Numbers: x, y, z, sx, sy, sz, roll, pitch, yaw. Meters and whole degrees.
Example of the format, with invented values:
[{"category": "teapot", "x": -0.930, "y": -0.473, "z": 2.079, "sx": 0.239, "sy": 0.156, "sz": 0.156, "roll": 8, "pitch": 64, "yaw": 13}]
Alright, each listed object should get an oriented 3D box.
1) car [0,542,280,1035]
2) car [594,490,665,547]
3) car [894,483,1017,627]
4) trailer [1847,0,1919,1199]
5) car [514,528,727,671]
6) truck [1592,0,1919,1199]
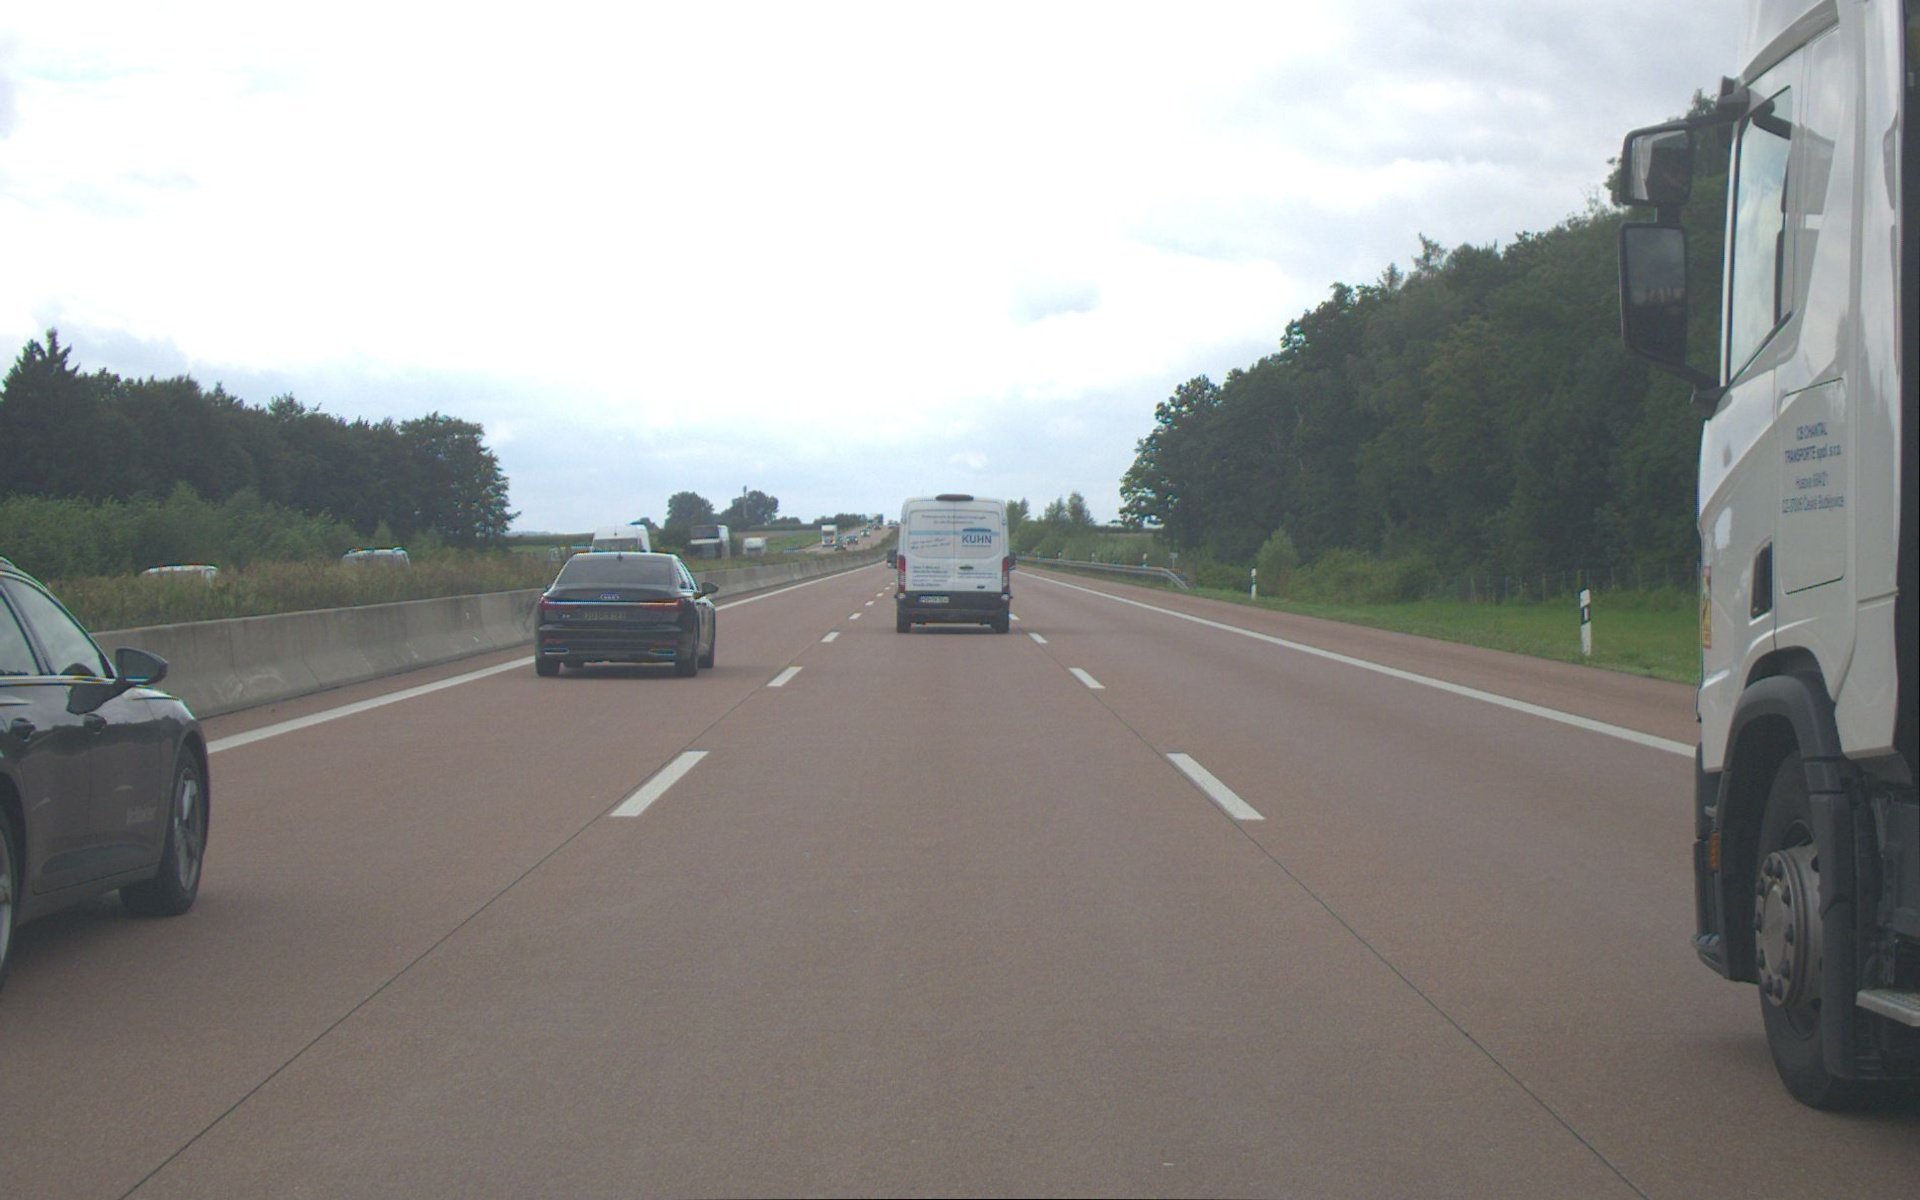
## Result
[{"category": "car", "x": -3.986, "y": 0.551, "z": 12.256, "sx": 2.059, "sy": 1.486, "sz": 5.453, "roll": 0, "pitch": 1, "yaw": 0}, {"category": "car", "x": -12.894, "y": -3.164, "z": 134.539, "sx": 2.072, "sy": 2.134, "sz": 7.488, "roll": 1, "pitch": 1, "yaw": 0}, {"category": "car", "x": -0.081, "y": -0.878, "z": 63.299, "sx": 2.137, "sy": 2.498, "sz": 7.132, "roll": 0, "pitch": 2, "yaw": 0}, {"category": "trailer", "x": 3.671, "y": -0.603, "z": 1.335, "sx": 2.921, "sy": 4.279, "sz": 13.615, "roll": 0, "pitch": 1, "yaw": -1}, {"category": "car", "x": -3.984, "y": -0.064, "z": 41.227, "sx": 2.085, "sy": 1.545, "sz": 5.675, "roll": 1, "pitch": 1, "yaw": -1}, {"category": "truck", "x": 3.552, "y": -0.755, "z": 8.442, "sx": 2.921, "sy": 4.279, "sz": 5.335, "roll": 0, "pitch": 1, "yaw": -1}]
